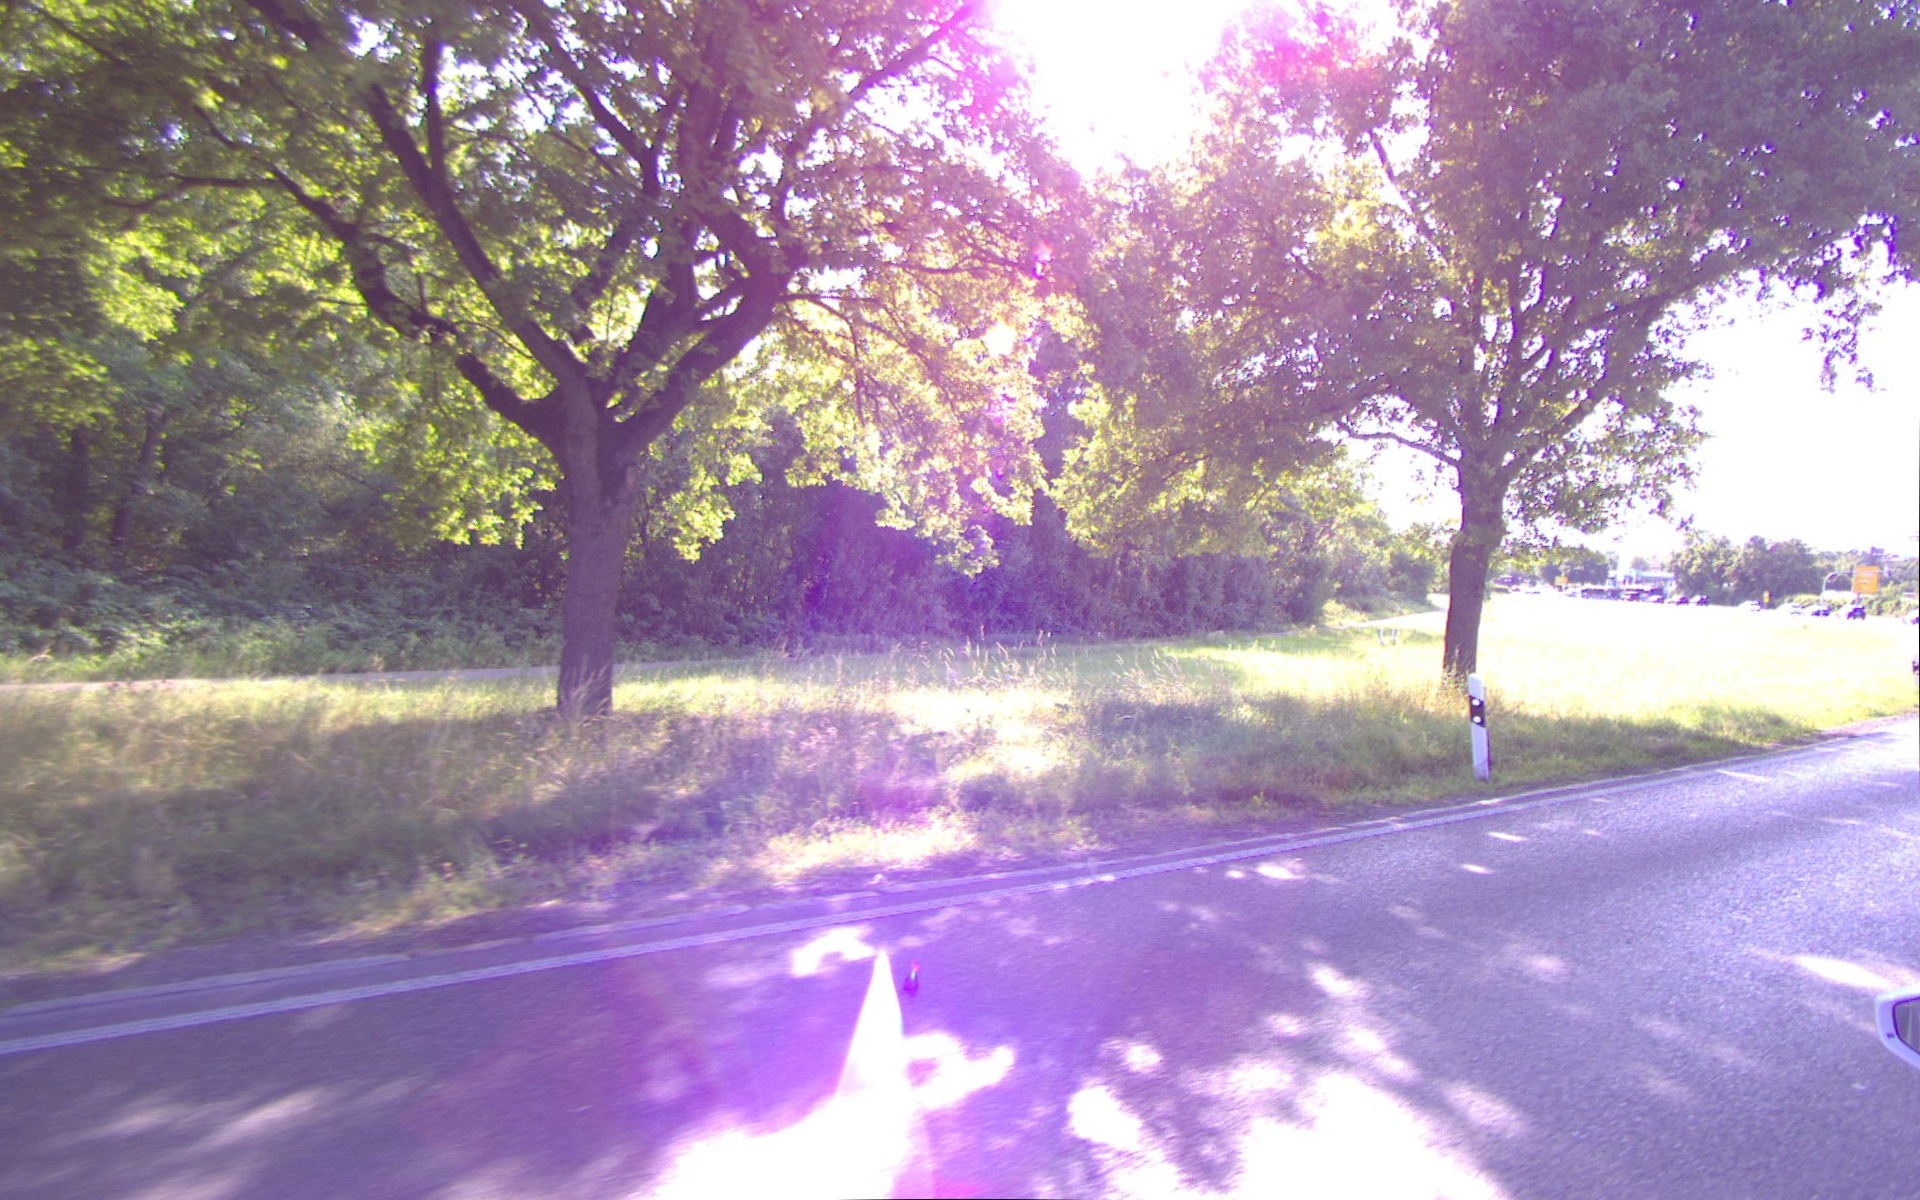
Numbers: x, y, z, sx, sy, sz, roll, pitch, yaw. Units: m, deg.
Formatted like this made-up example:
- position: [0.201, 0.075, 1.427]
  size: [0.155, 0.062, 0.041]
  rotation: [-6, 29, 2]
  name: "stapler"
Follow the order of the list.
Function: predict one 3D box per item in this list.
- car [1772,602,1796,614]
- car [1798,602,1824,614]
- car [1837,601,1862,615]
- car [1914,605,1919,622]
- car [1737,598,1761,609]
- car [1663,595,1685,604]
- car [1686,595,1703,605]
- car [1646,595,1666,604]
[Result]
- position: [118.777, 1.146, 144.827]
  size: [1.652, 1.579, 3.870]
  rotation: [2, 0, 24]
  name: "car"
- position: [115.219, 1.131, 136.032]
  size: [1.652, 1.579, 3.870]
  rotation: [2, 0, 24]
  name: "car"
- position: [111.187, 1.025, 125.586]
  size: [1.496, 1.678, 3.867]
  rotation: [2, 0, 28]
  name: "car"
- position: [101.512, 1.438, 105.359]
  size: [1.499, 1.678, 3.861]
  rotation: [2, 0, 34]
  name: "car"
- position: [124.333, 0.520, 158.340]
  size: [1.944, 1.678, 3.870]
  rotation: [2, 0, 24]
  name: "car"
- position: [129.839, -0.082, 182.696]
  size: [2.050, 1.621, 4.000]
  rotation: [2, 1, 19]
  name: "car"
- position: [132.785, 0.001, 181.652]
  size: [1.700, 1.678, 3.869]
  rotation: [2, 0, 25]
  name: "car"
- position: [133.162, -0.120, 192.217]
  size: [2.050, 1.621, 4.000]
  rotation: [2, 1, 19]
  name: "car"
